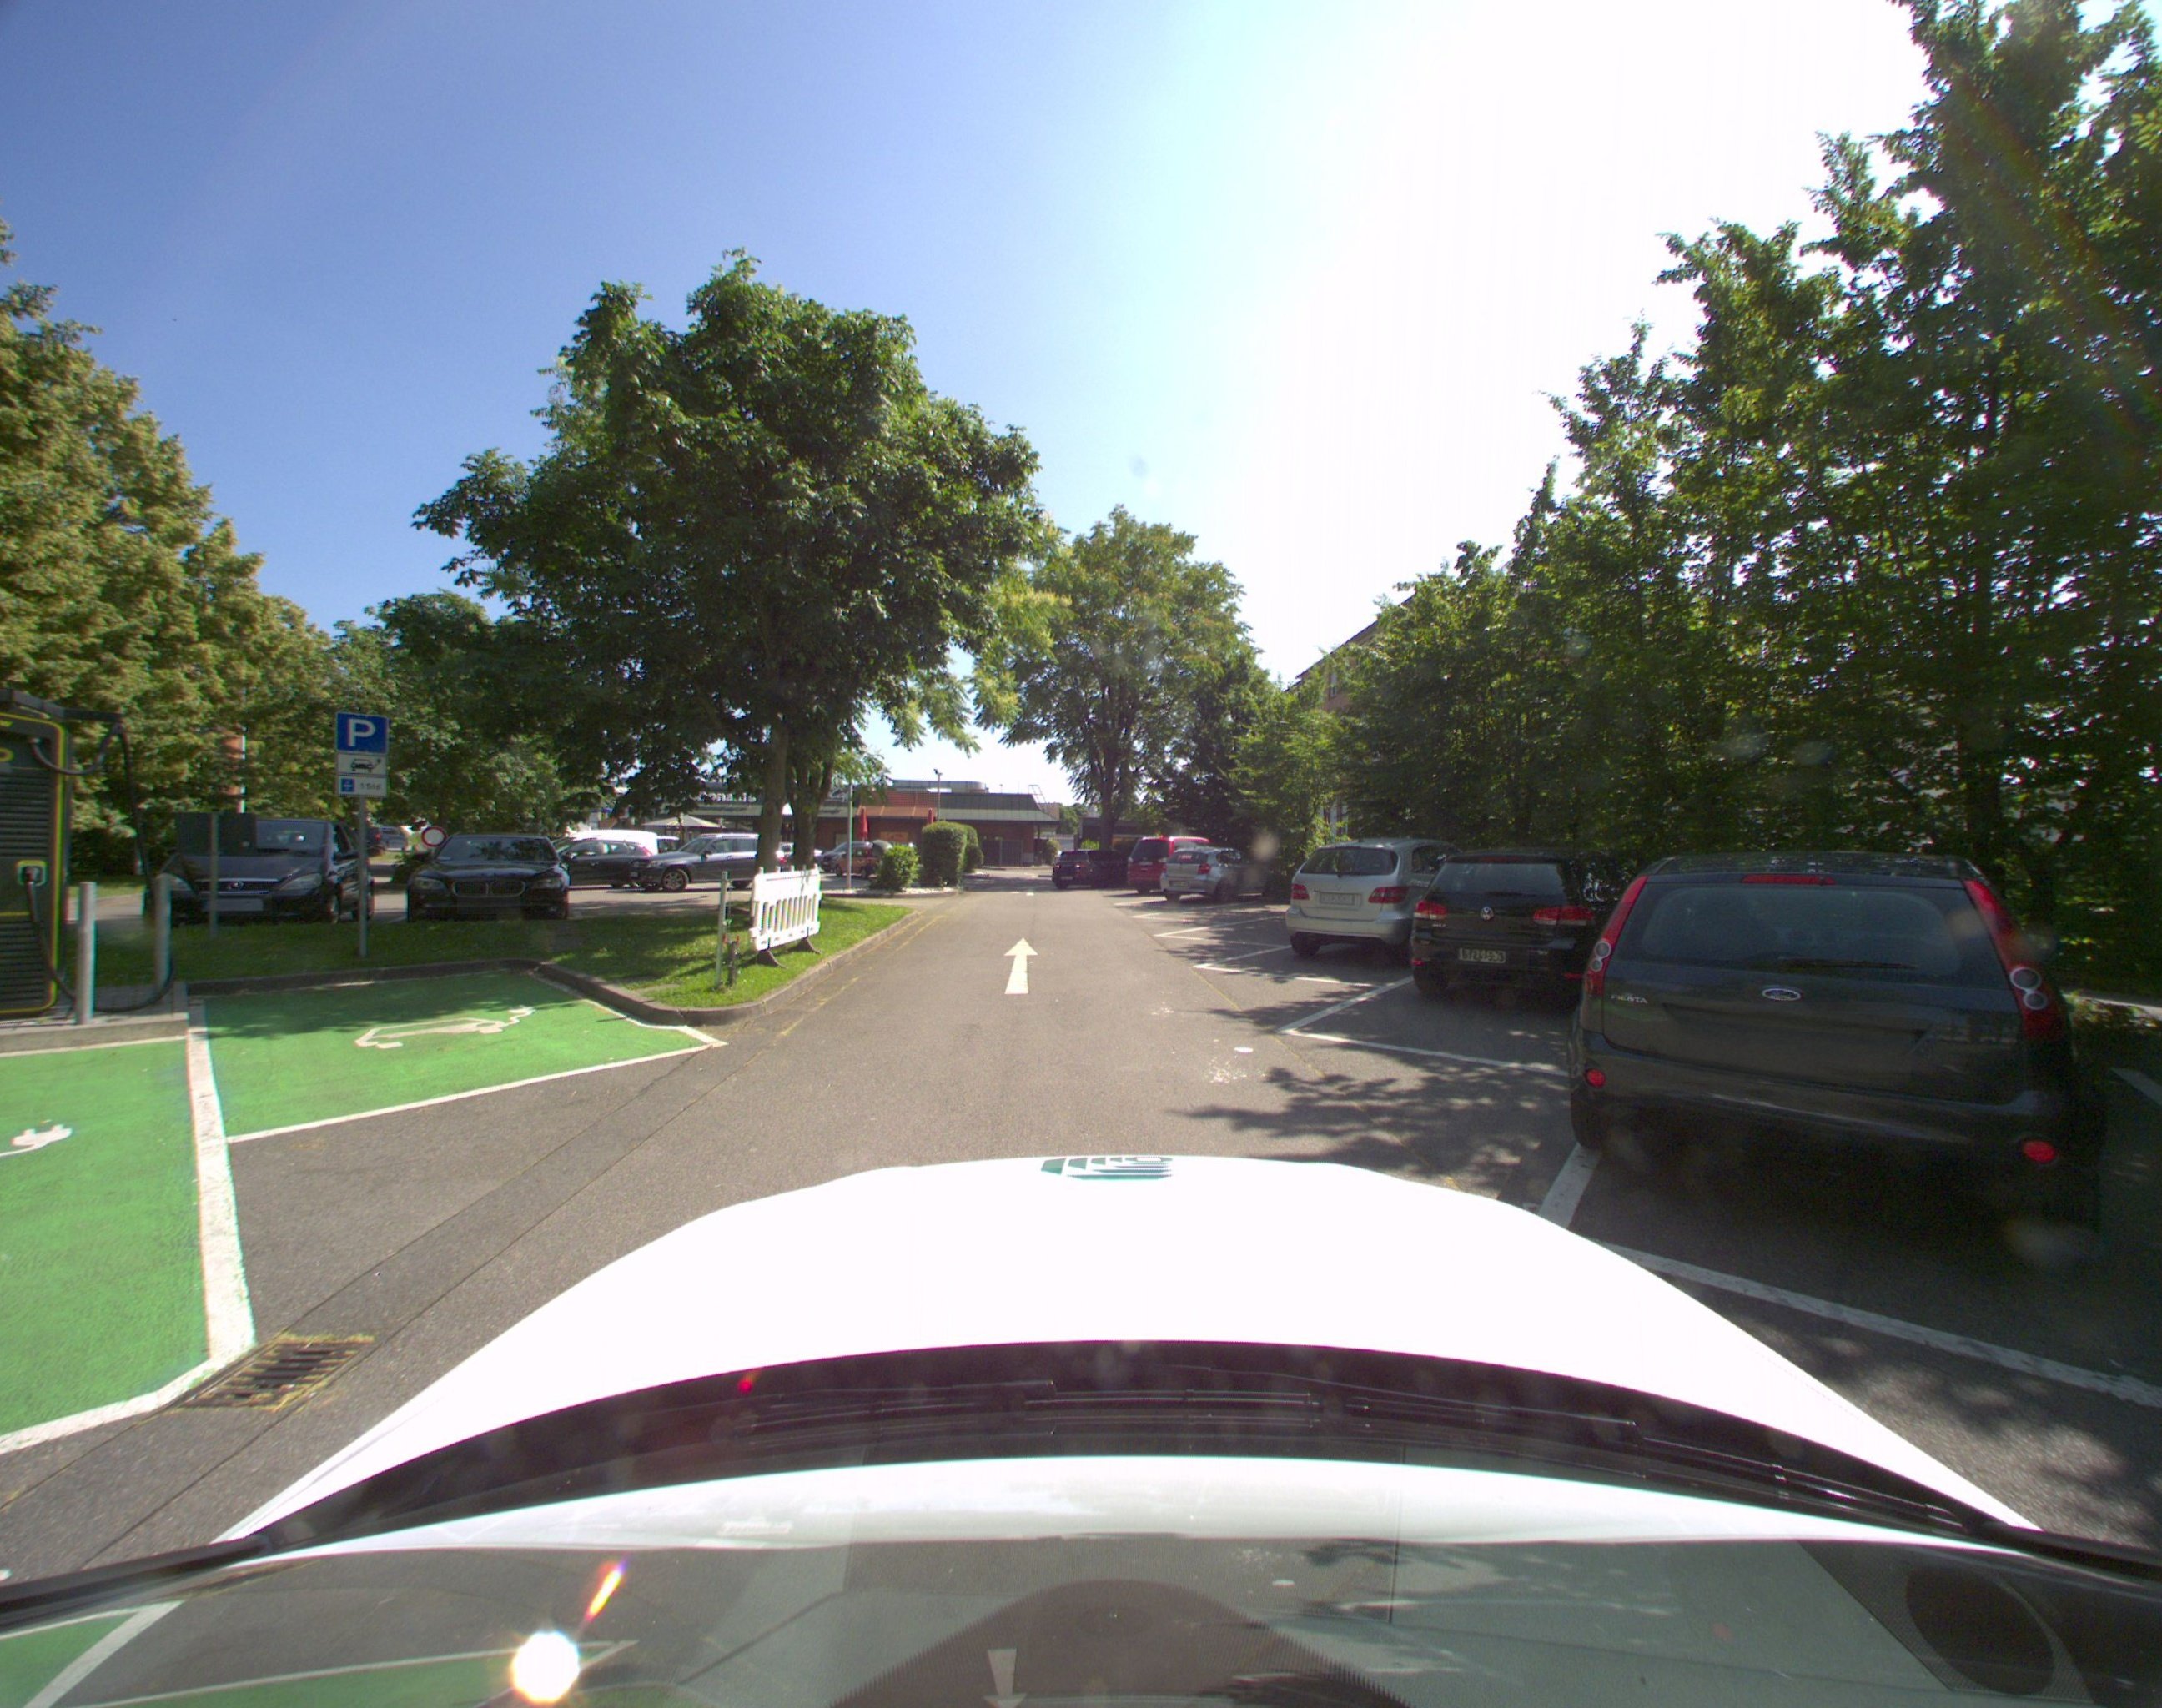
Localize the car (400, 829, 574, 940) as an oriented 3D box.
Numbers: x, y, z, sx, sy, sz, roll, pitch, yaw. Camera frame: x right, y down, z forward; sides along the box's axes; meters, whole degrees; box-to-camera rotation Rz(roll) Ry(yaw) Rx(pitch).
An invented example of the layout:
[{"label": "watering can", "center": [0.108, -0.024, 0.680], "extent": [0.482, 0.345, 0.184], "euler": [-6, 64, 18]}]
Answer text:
[{"label": "car", "center": [-9.336, 0.402, 12.978], "extent": [1.870, 1.453, 4.321], "euler": [3, -1, -35]}]

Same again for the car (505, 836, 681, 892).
[{"label": "car", "center": [-14.280, 0.262, 24.018], "extent": [1.839, 1.491, 4.064], "euler": [1, 0, 40]}]

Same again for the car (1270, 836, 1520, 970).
[{"label": "car", "center": [4.578, 0.551, 11.578], "extent": [4.022, 1.572, 1.753], "euler": [-1, 1, -43]}]

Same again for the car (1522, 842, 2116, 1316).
[{"label": "car", "center": [4.056, 0.676, 4.519], "extent": [4.023, 1.453, 1.684], "euler": [-1, 1, -44]}]

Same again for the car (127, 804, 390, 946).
[{"label": "car", "center": [-11.674, 0.249, 11.930], "extent": [1.870, 1.686, 4.321], "euler": [3, -1, -35]}]

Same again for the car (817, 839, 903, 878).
[{"label": "car", "center": [-10.345, 0.158, 38.012], "extent": [4.313, 1.685, 1.874], "euler": [2, 3, 43]}]

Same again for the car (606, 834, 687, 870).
[{"label": "car", "center": [-19.957, -0.117, 37.324], "extent": [4.090, 1.552, 1.932], "euler": [2, 1, 41]}]

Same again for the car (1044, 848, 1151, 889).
[{"label": "car", "center": [0.670, 0.506, 29.783], "extent": [1.751, 1.389, 4.025], "euler": [0, -1, 41]}]

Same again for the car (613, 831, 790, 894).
[{"label": "car", "center": [-11.180, 0.226, 24.274], "extent": [1.839, 1.686, 4.394], "euler": [1, 0, 40]}]

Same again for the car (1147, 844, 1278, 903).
[{"label": "car", "center": [3.682, 0.465, 22.295], "extent": [1.751, 1.475, 4.025], "euler": [0, 0, 39]}]

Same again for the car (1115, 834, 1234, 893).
[{"label": "car", "center": [3.022, 0.275, 25.758], "extent": [1.751, 1.734, 4.025], "euler": [-2, -1, 40]}]

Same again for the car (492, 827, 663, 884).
[{"label": "car", "center": [-16.226, 0.054, 26.421], "extent": [1.839, 1.686, 4.339], "euler": [1, 0, 41]}]

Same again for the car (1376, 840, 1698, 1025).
[{"label": "car", "center": [4.948, 0.613, 8.587], "extent": [4.022, 1.470, 1.753], "euler": [-1, 1, -42]}]
